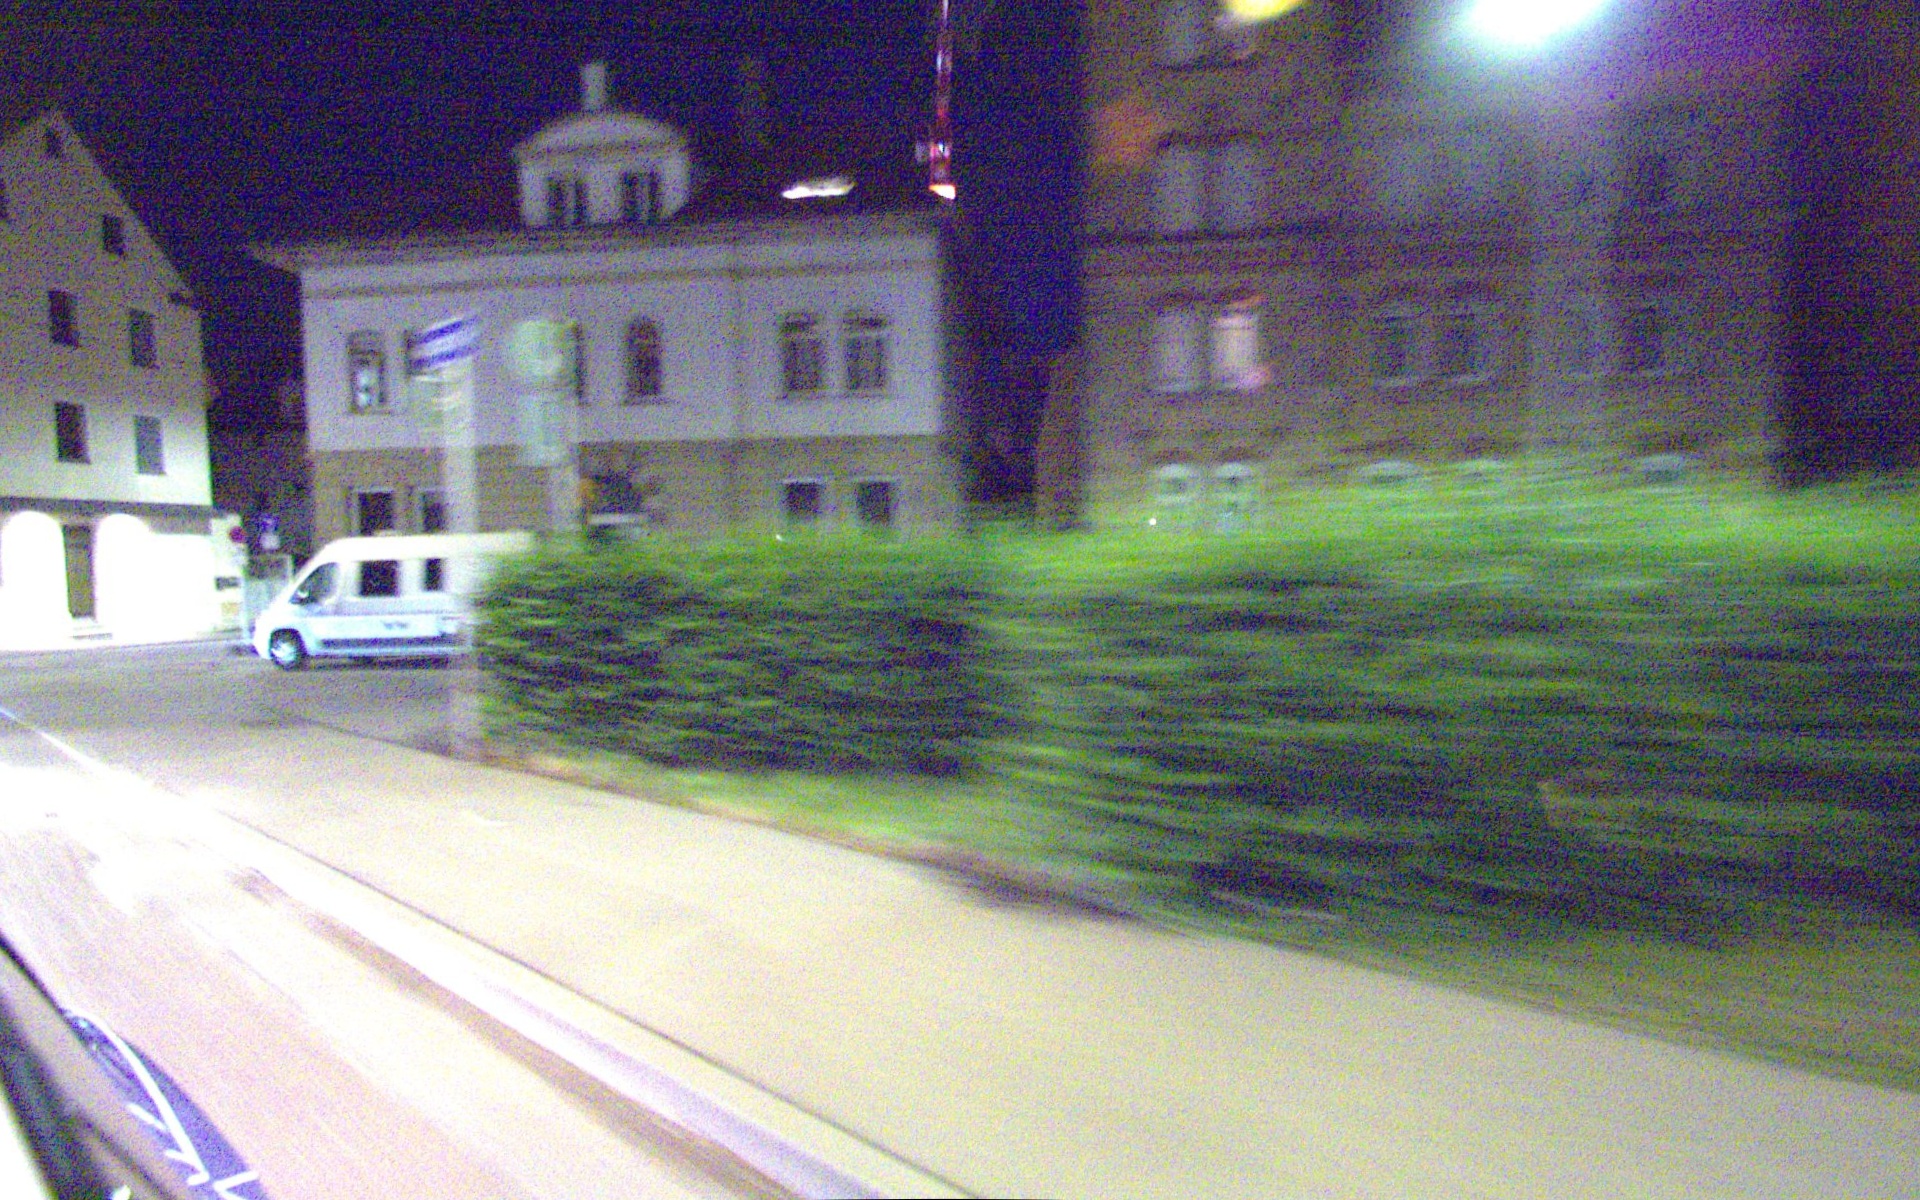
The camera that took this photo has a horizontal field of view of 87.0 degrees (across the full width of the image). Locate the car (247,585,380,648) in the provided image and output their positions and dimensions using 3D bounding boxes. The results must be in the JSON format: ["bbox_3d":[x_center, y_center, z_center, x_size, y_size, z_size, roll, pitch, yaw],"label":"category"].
[{"bbox_3d":[-17.004,0.397,26.763,1.472,1.524,2.812,0,2,8],"label":"car"}]

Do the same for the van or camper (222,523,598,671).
[{"bbox_3d":[-10.224,-0.024,19.034,6.153,2.555,2.160,-1,0,8],"label":"van or camper"}]

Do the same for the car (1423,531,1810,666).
[{"bbox_3d":[10.264,-0.033,16.211,4.749,1.969,1.995,-1,2,8],"label":"car"}]
